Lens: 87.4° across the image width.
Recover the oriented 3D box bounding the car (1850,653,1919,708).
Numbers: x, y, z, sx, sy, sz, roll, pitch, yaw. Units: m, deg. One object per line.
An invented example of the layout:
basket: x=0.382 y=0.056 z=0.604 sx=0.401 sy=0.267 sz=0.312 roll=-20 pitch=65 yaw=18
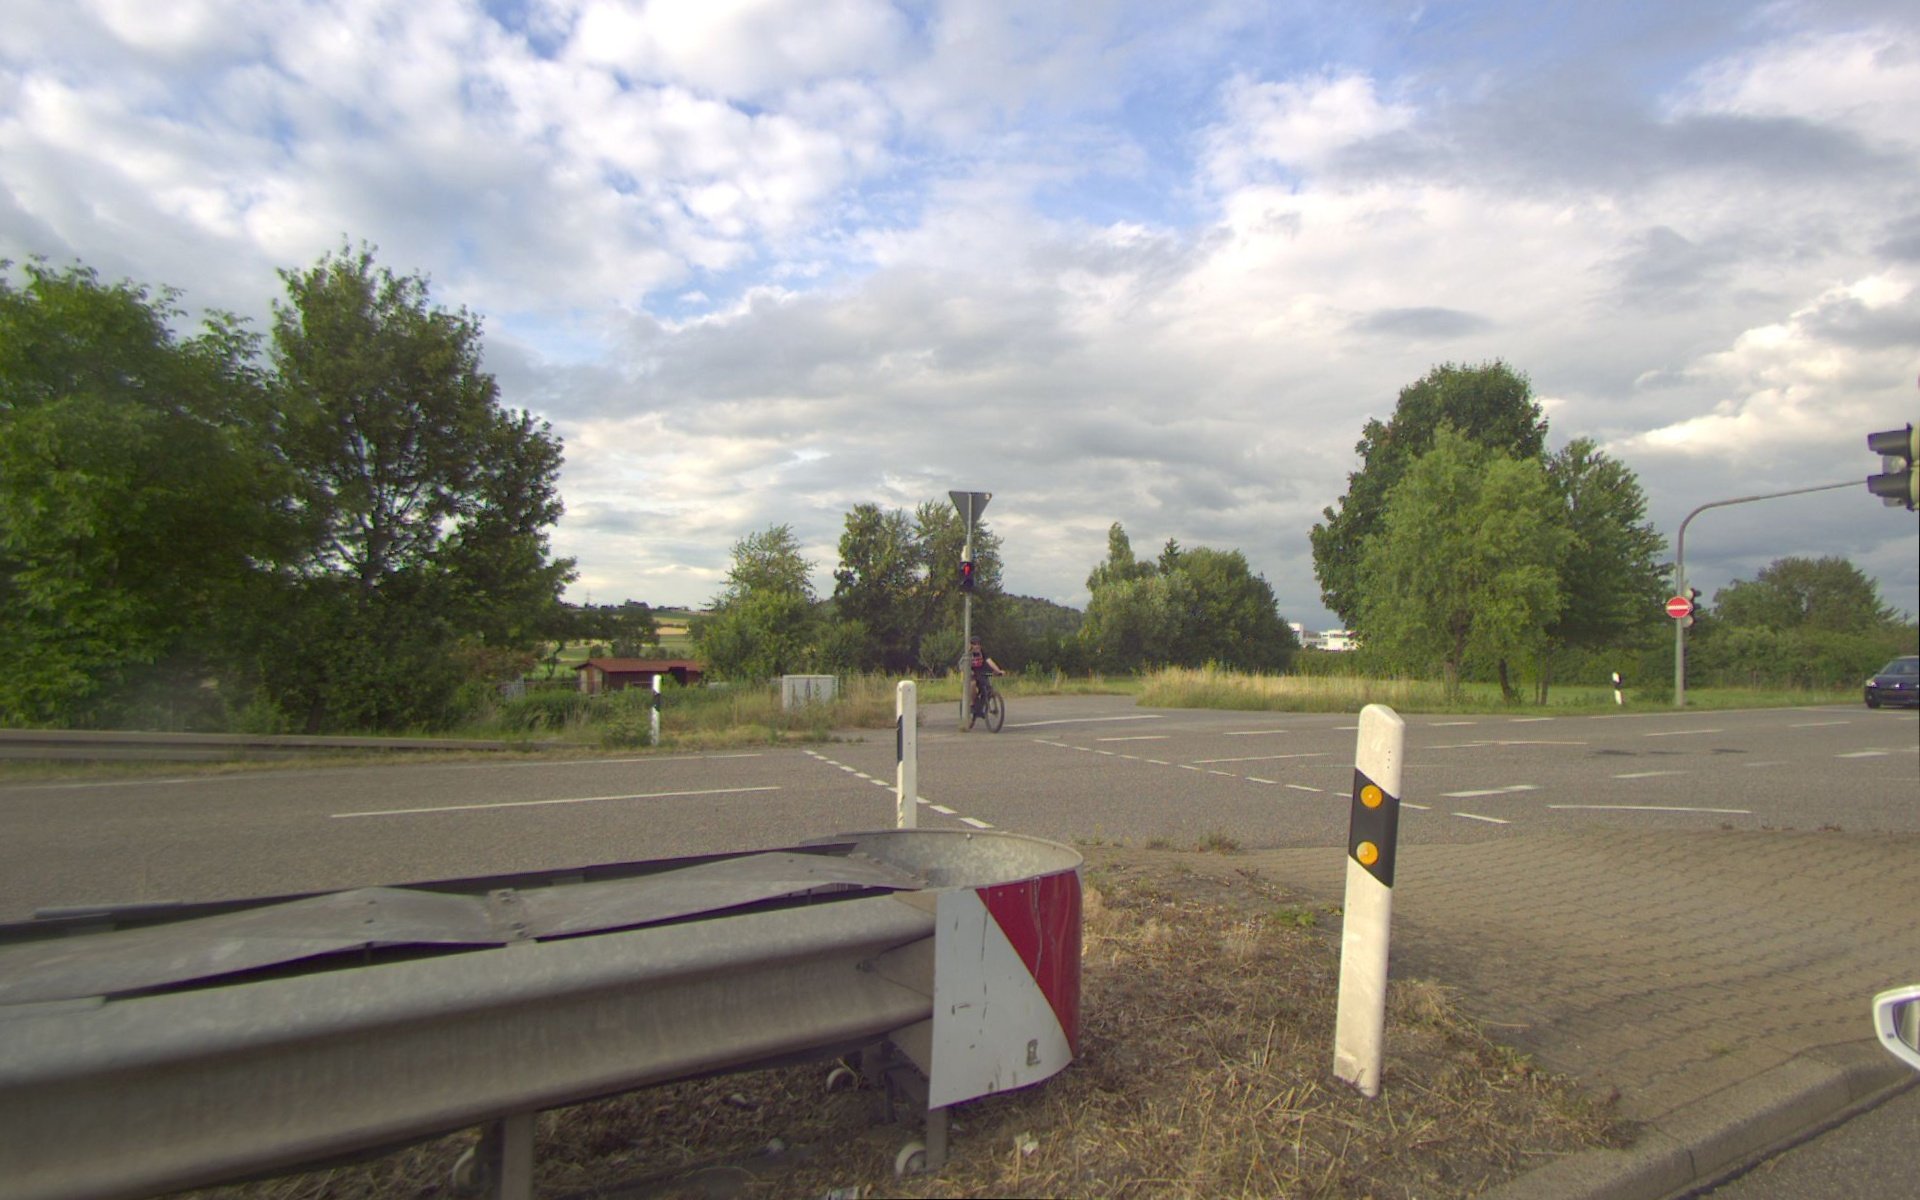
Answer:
car: x=29.228 y=2.405 z=30.478 sx=4.880 sy=1.556 sz=1.899 roll=2 pitch=-3 yaw=-30

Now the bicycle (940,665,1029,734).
bicycle: x=0.430 y=1.850 z=19.122 sx=0.804 sy=1.152 sz=2.314 roll=2 pitch=-2 yaw=-23

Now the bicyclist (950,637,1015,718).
bicyclist: x=0.416 y=1.456 z=19.161 sx=0.804 sy=1.470 sz=1.219 roll=2 pitch=-2 yaw=-24
